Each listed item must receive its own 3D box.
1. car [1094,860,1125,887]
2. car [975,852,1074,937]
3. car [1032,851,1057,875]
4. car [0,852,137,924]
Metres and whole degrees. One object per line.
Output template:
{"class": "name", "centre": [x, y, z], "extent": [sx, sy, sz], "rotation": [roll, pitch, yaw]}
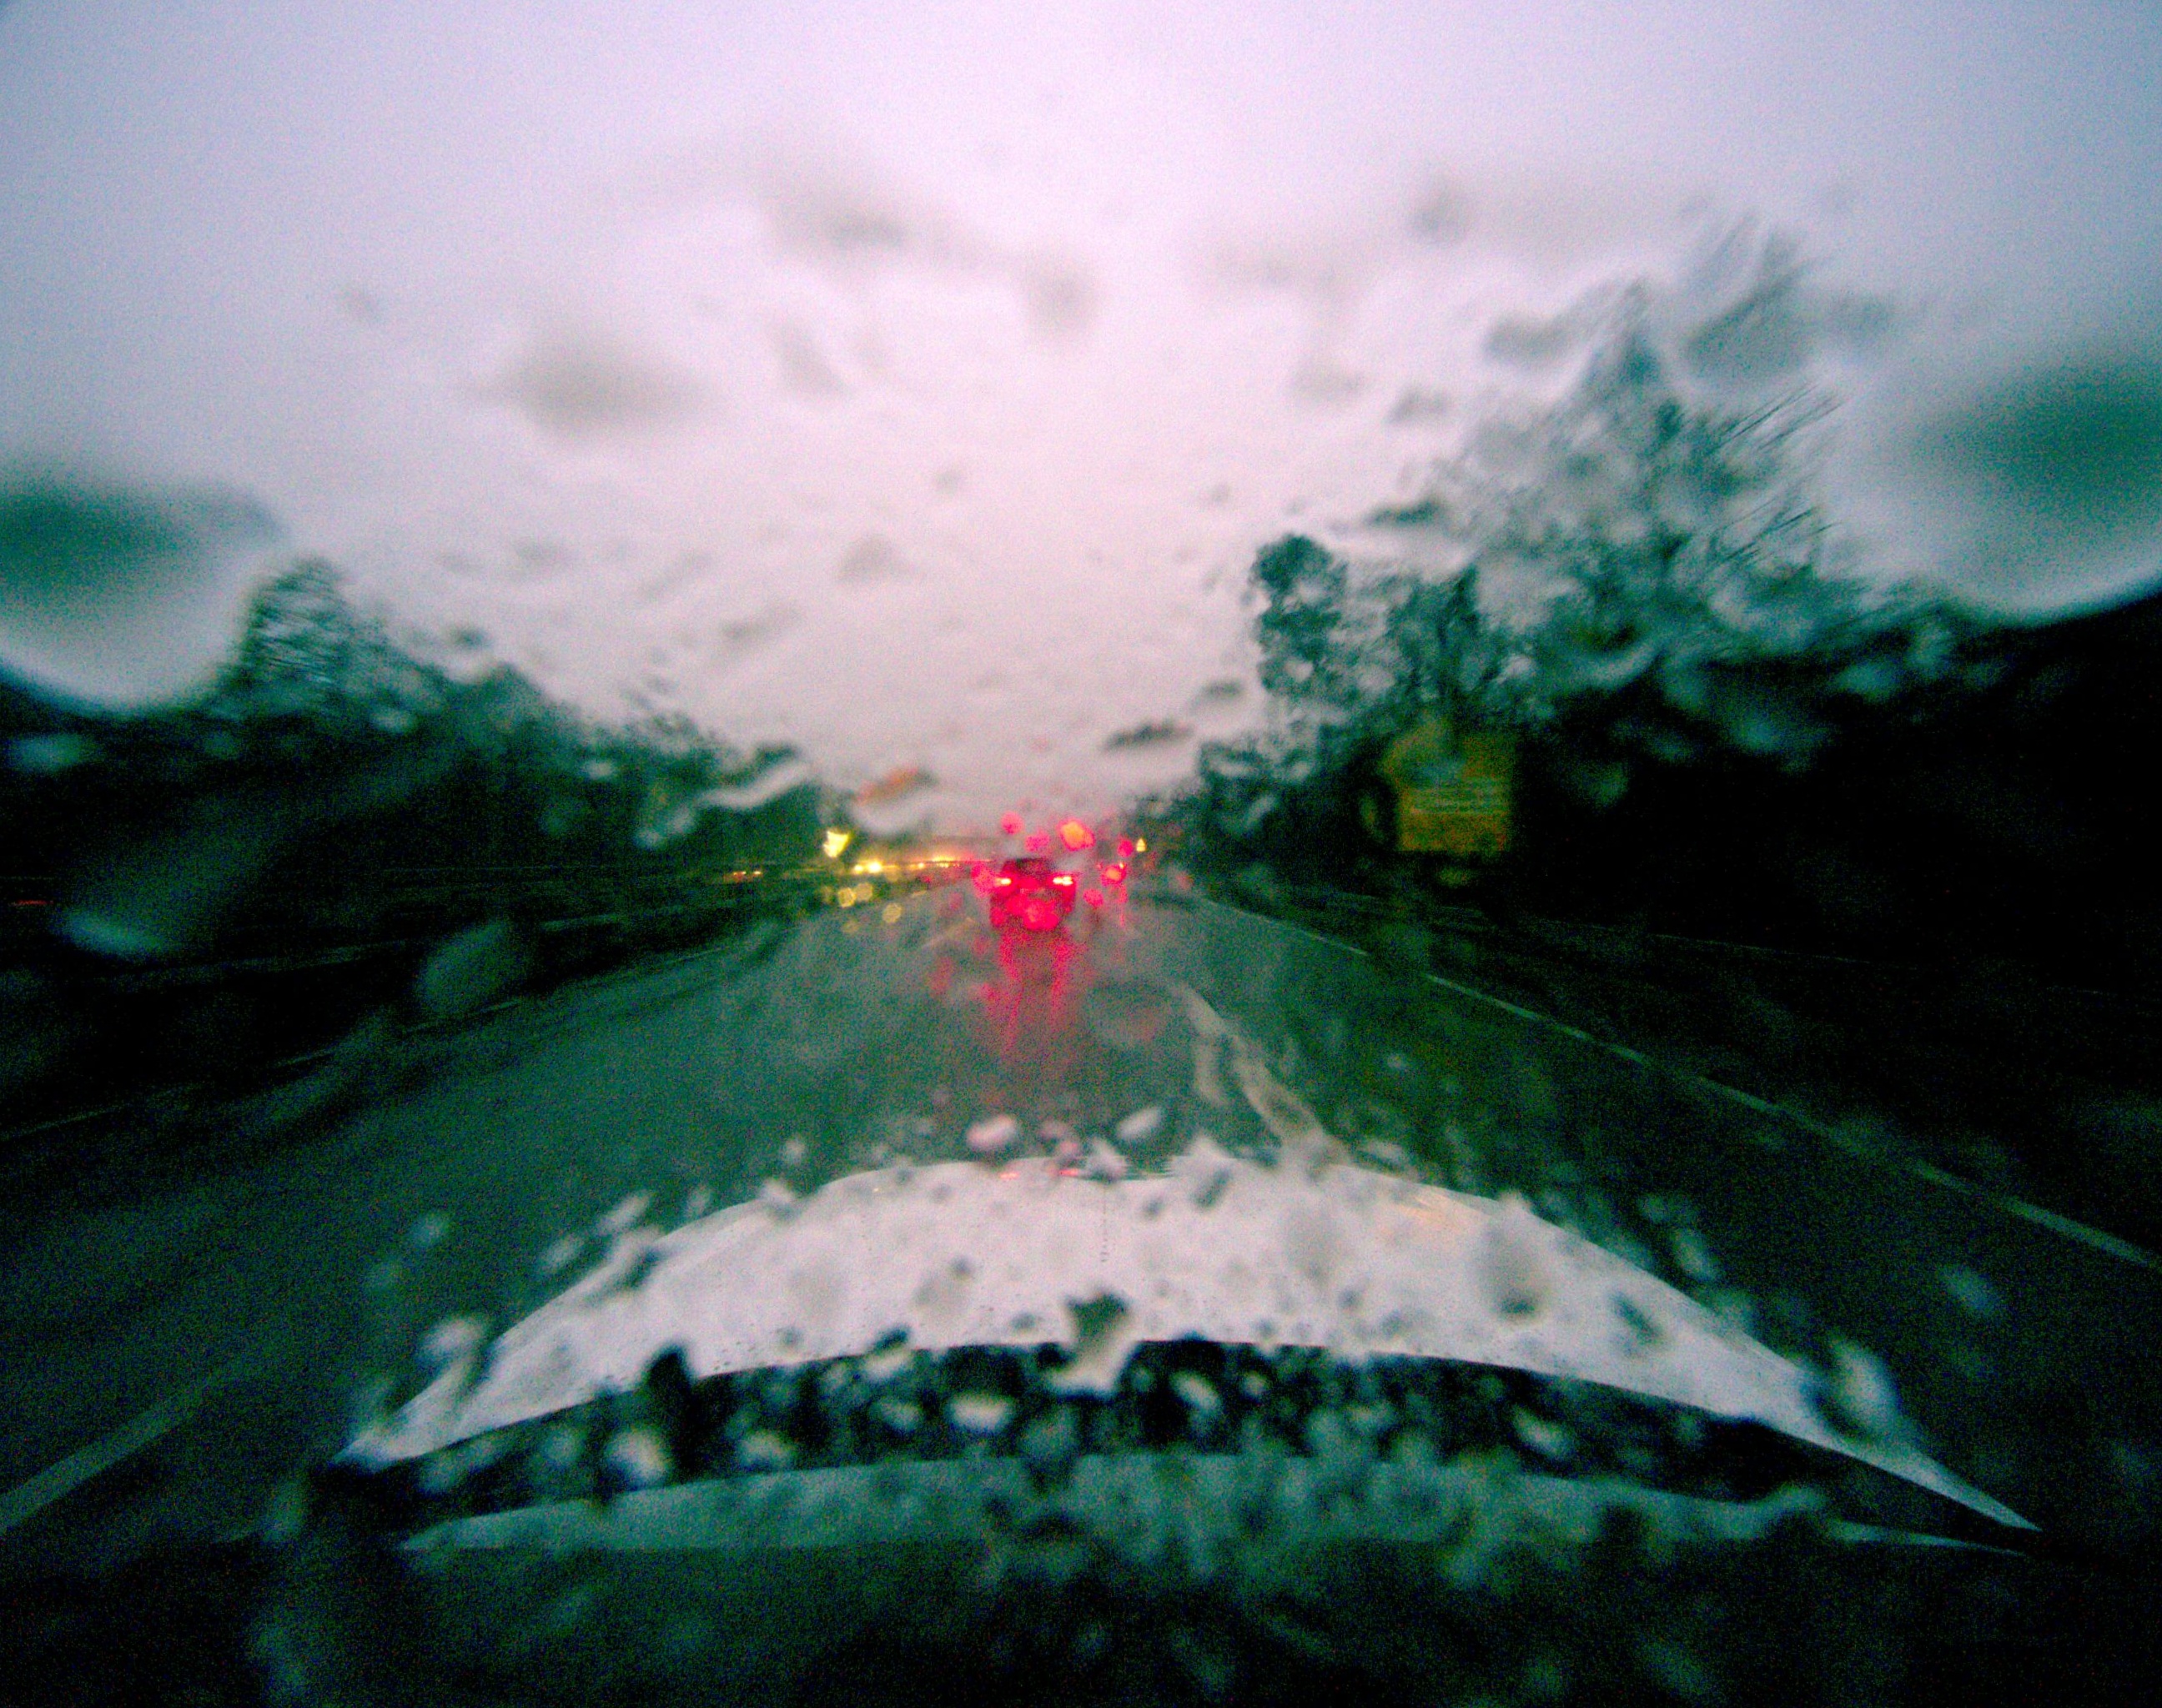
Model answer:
{"class": "car", "centre": [1.529, 1.020, 44.117], "extent": [1.563, 1.408, 3.647], "rotation": [-1, 0, 2]}
{"class": "car", "centre": [-1.154, 0.835, 18.443], "extent": [1.986, 1.715, 3.828], "rotation": [-1, 0, -1]}
{"class": "car", "centre": [-3.246, 0.807, 73.017], "extent": [1.987, 2.014, 3.998], "rotation": [-1, 0, -1]}
{"class": "car", "centre": [-30.734, 0.951, 23.682], "extent": [1.974, 2.014, 4.025], "rotation": [-1, -1, 32]}
